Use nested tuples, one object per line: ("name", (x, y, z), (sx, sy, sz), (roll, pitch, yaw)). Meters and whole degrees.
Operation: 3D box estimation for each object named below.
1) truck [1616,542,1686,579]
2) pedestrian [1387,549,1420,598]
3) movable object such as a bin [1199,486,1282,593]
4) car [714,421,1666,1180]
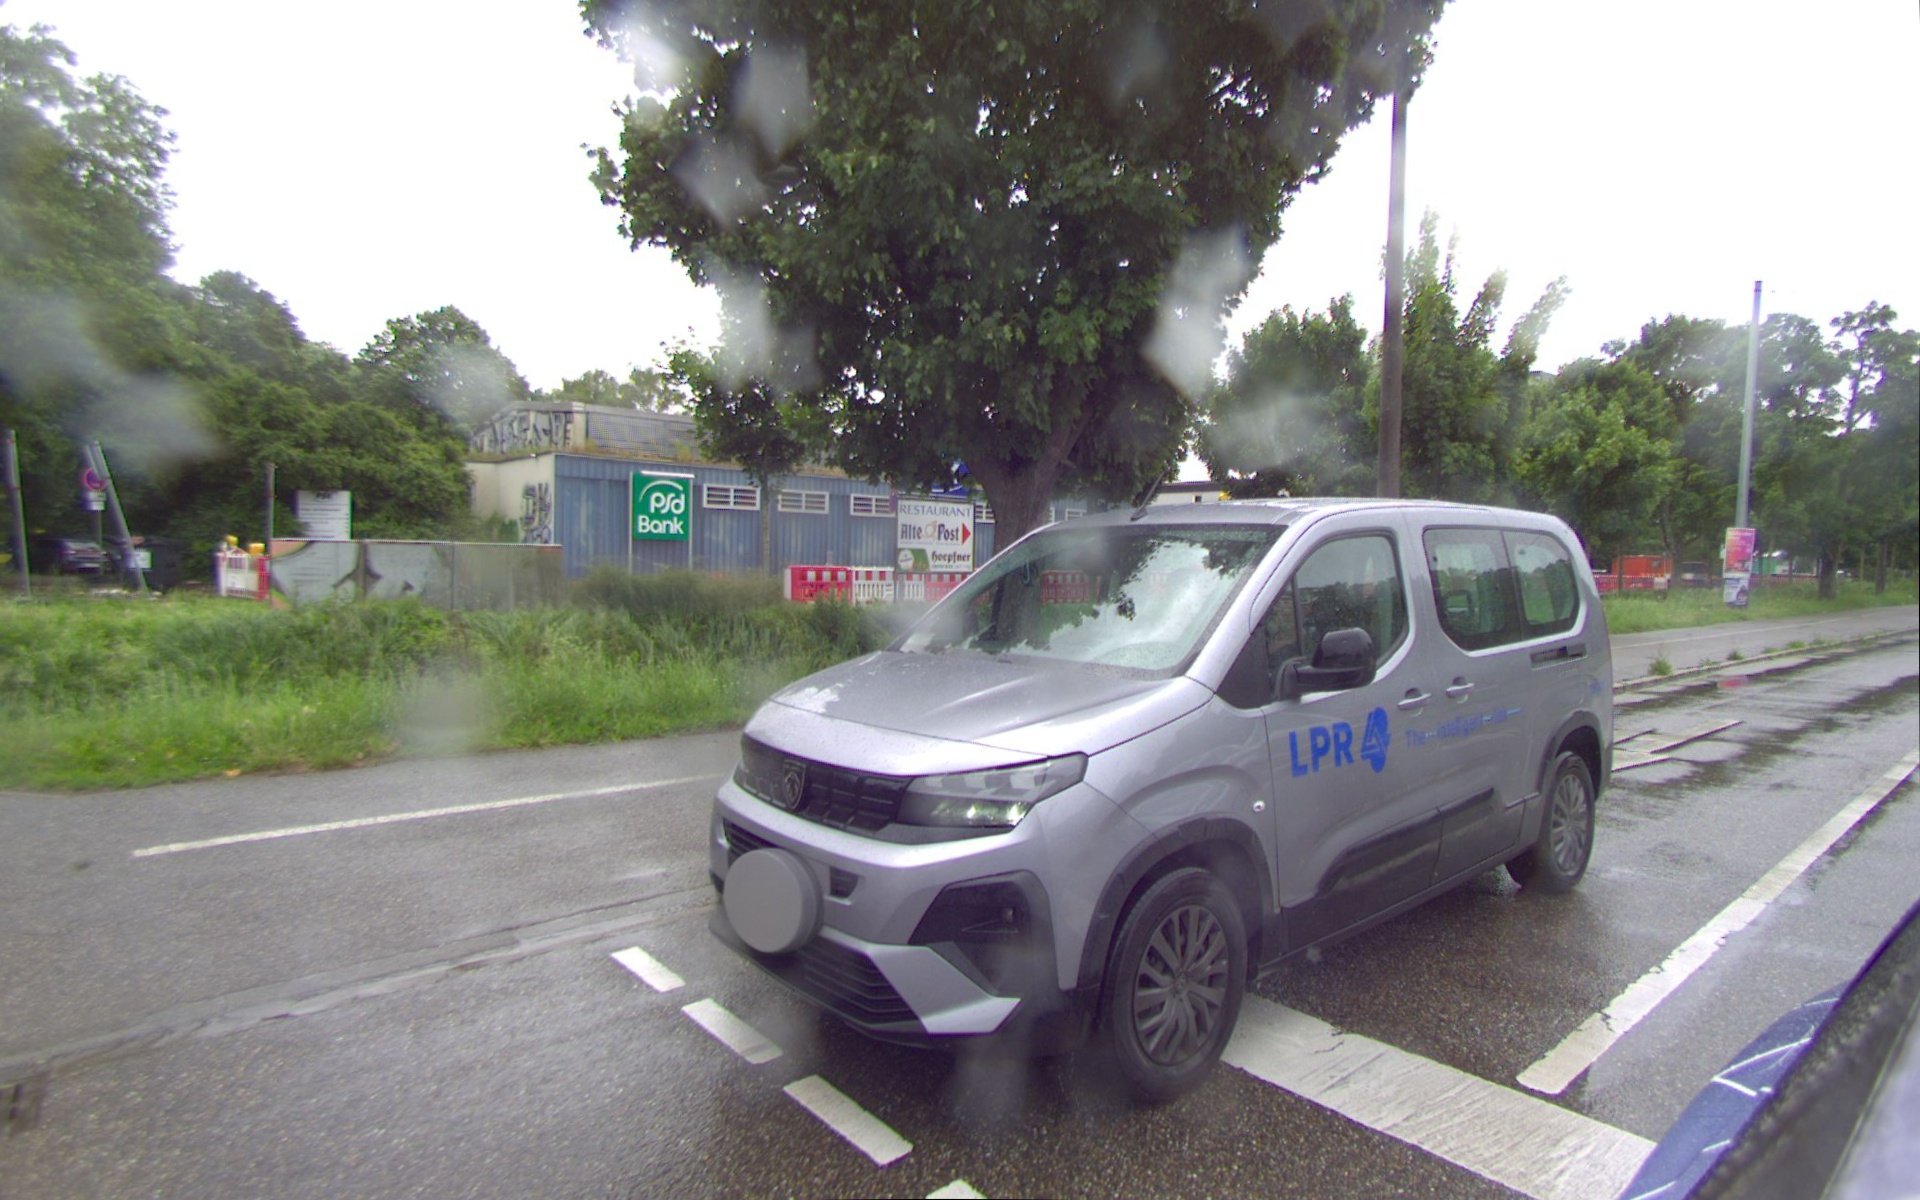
("truck", (58.144, -3.325, 85.111), (8.599, 2.935, 2.809), (-2, 2, -41))
("pedestrian", (18.173, -1.080, 41.493), (1.192, 1.960, 0.814), (-2, 1, -41))
("movable object such as a bin", (12.341, -2.597, 44.371), (3.839, 4.481, 1.557), (-2, 1, -39))
("car", (1.381, 0.411, 4.644), (4.483, 1.818, 1.997), (-2, 2, -41))
